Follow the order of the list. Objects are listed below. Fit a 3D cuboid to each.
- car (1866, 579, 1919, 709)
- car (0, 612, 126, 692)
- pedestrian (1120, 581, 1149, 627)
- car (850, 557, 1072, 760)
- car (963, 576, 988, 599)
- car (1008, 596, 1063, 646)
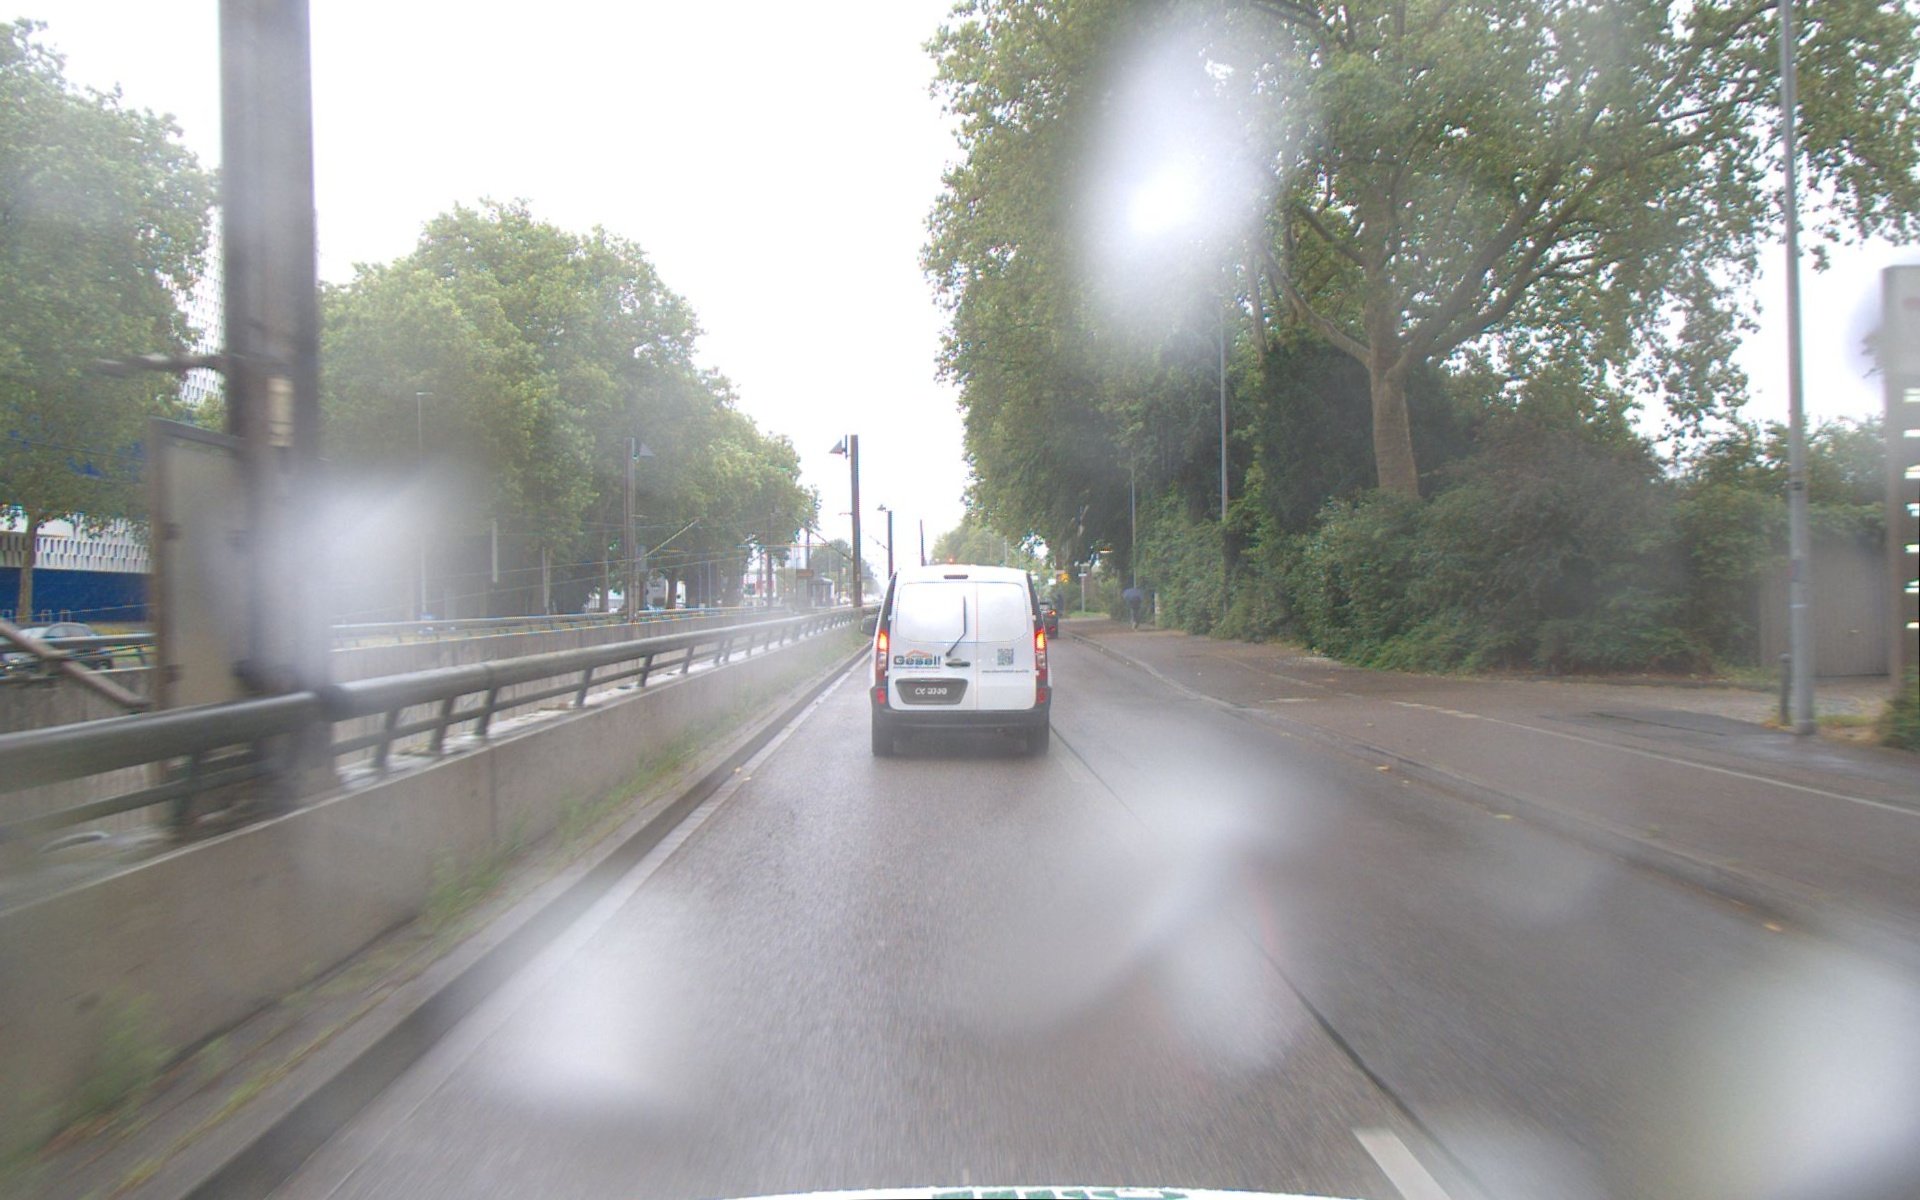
[{"bbox_3d":[12.169,0.511,18.242,1.594,1.457,3.502,1,0,-42],"label":"car"},{"bbox_3d":[-18.145,0.988,32.391,1.955,1.428,3.790,-1,0,-5],"label":"car"},{"bbox_3d":[6.579,0.147,62.422,0.947,1.732,1.141,1,0,0],"label":"pedestrian"},{"bbox_3d":[-0.035,0.531,17.048,1.984,1.806,4.273,1,0,-1],"label":"car"},{"bbox_3d":[1.247,-0.965,130.347,1.952,1.780,4.000,1,0,1],"label":"car"},{"bbox_3d":[2.819,0.754,61.295,1.952,1.780,4.002,1,0,3],"label":"car"}]
